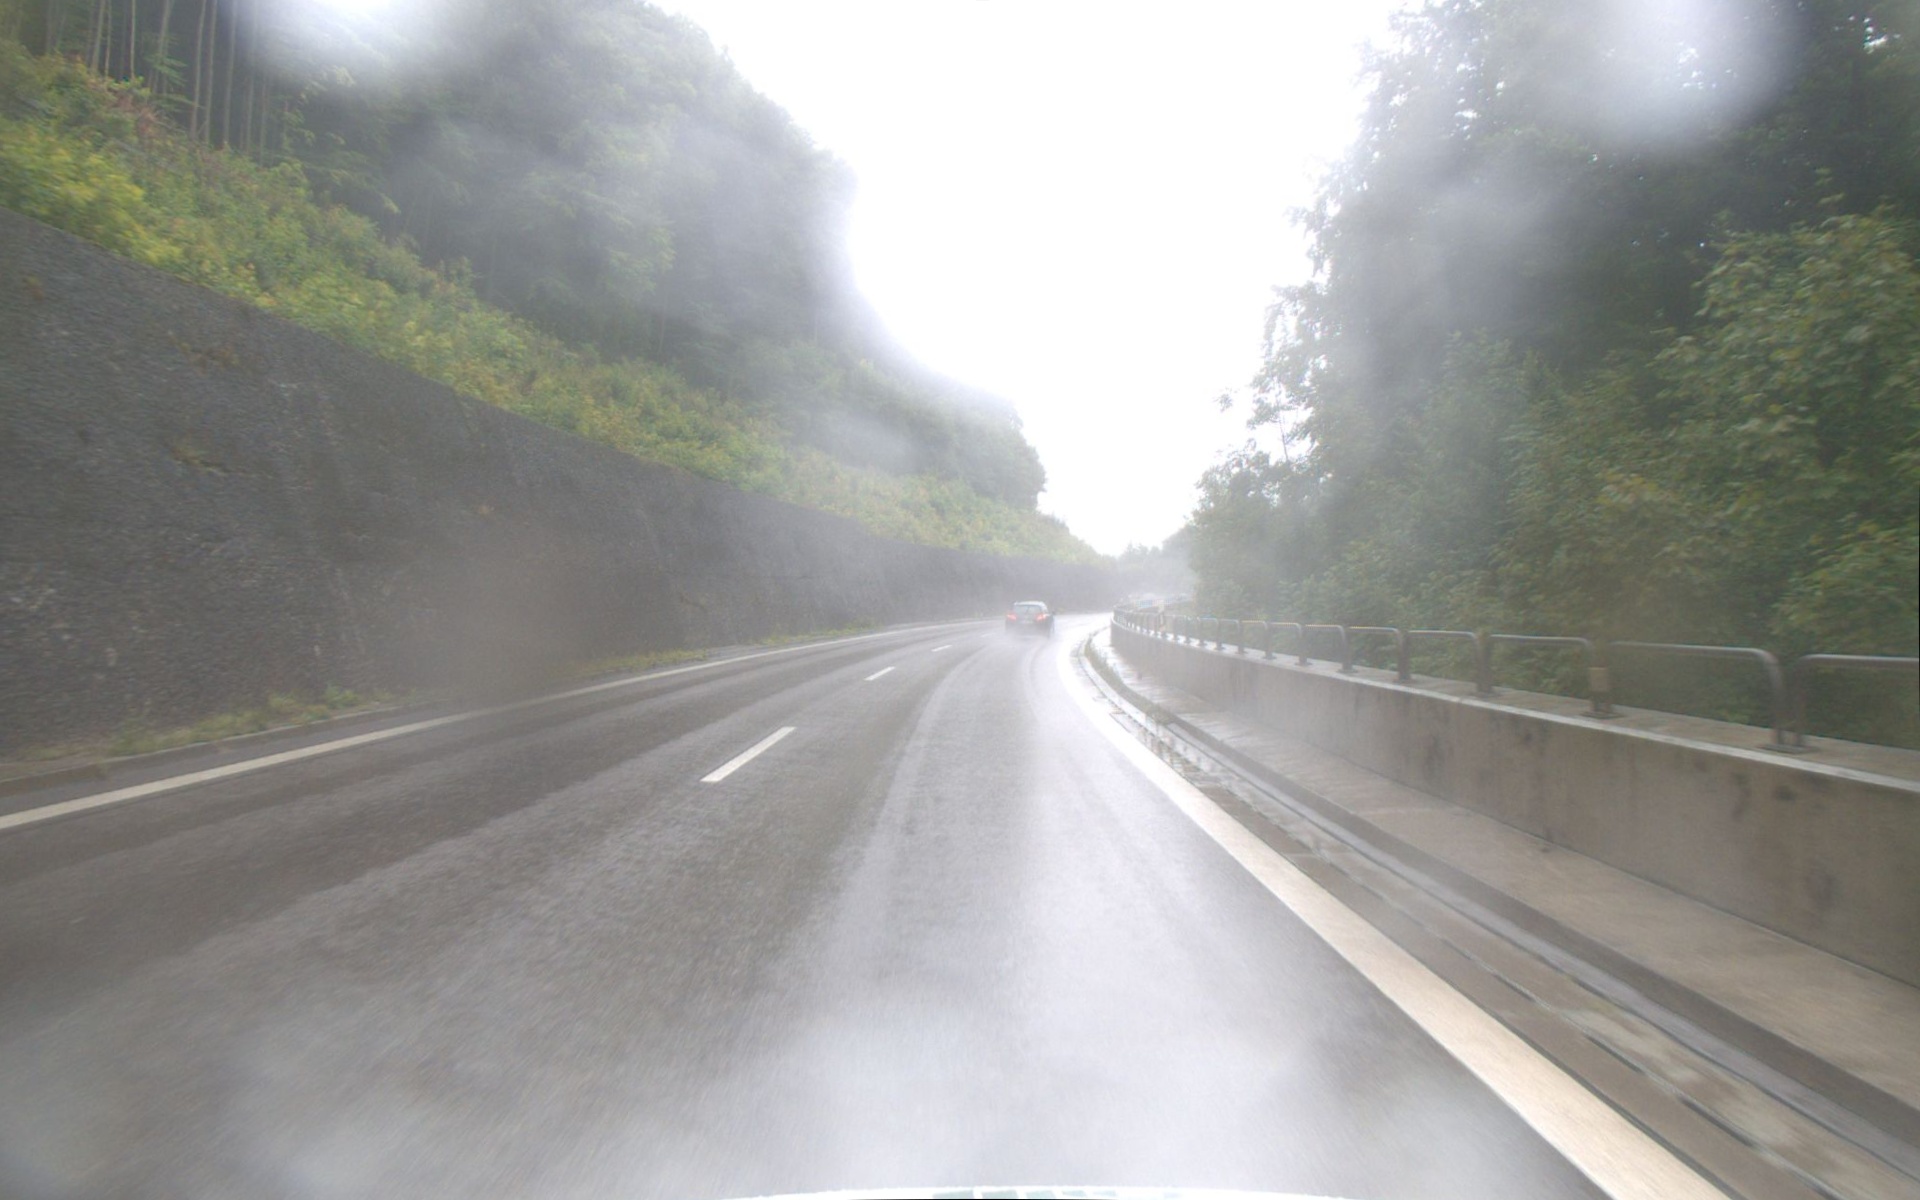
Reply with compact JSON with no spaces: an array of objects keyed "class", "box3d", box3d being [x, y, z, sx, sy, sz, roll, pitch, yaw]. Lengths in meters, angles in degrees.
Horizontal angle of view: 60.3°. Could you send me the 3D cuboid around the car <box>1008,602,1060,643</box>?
[{"class":"car","box3d":[2.953,0.882,65.298,1.863,1.525,4.002,-1,0,5]}]
